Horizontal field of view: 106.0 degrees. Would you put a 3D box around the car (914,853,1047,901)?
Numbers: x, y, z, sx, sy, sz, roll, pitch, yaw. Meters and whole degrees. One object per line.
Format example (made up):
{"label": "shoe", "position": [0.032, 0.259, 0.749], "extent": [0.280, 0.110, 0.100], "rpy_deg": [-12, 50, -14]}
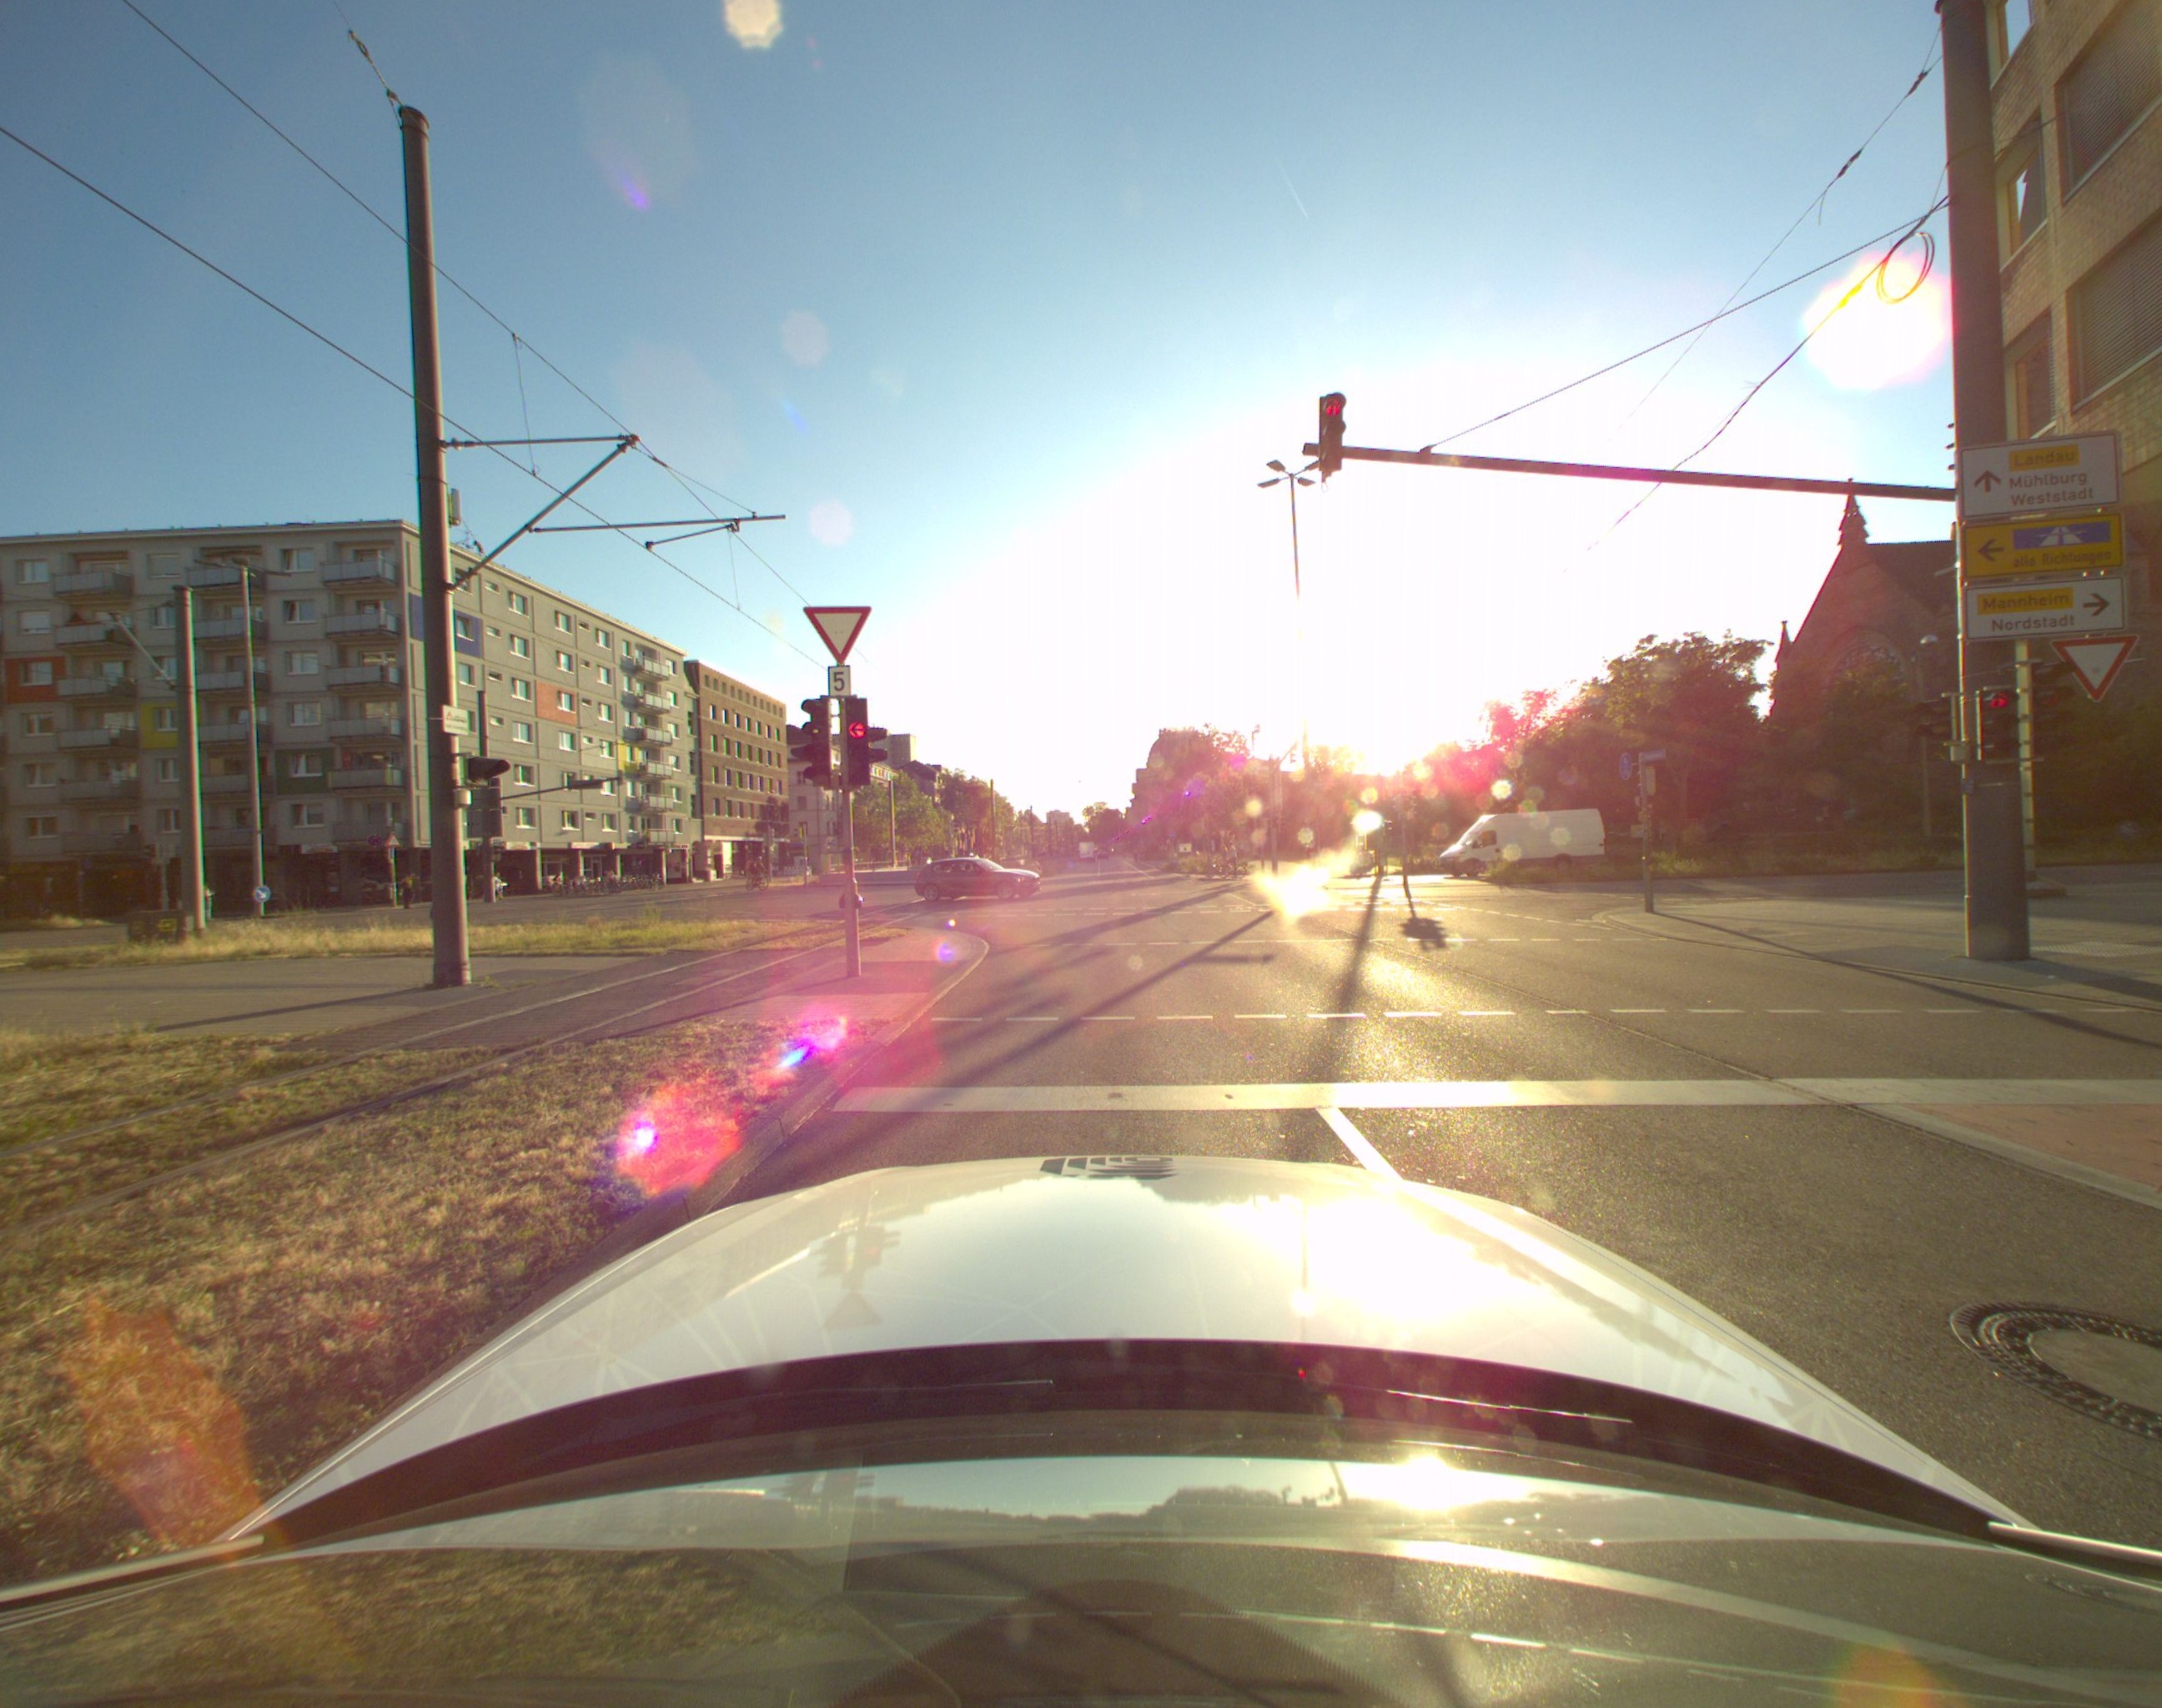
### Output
{"label": "car", "position": [-3.335, 0.769, 27.157], "extent": [3.955, 1.434, 1.727], "rpy_deg": [-2, 1, 18]}

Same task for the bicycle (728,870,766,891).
{"label": "bicycle", "position": [-16.824, 1.318, 41.025], "extent": [1.733, 0.970, 0.700], "rpy_deg": [0, 2, -18]}

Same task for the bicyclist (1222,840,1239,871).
{"label": "bicyclist", "position": [7.774, 0.061, 42.288], "extent": [0.793, 1.571, 0.665], "rpy_deg": [-2, 1, 7]}

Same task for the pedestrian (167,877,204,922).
{"label": "pedestrian", "position": [-38.886, 1.963, 35.370], "extent": [0.702, 1.851, 0.737], "rpy_deg": [-2, 1, 1]}

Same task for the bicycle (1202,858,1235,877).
{"label": "bicycle", "position": [7.452, 0.732, 44.206], "extent": [1.710, 0.970, 0.610], "rpy_deg": [-1, 1, 4]}

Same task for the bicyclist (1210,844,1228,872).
{"label": "bicyclist", "position": [7.506, 0.208, 44.201], "extent": [0.849, 1.442, 0.664], "rpy_deg": [-2, 1, 5]}

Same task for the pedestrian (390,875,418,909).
{"label": "pedestrian", "position": [-34.774, 1.949, 41.852], "extent": [0.732, 1.669, 0.787], "rpy_deg": [-2, 1, 23]}

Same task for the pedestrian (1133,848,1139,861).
{"label": "pedestrian", "position": [6.562, 0.065, 96.975], "extent": [0.613, 1.475, 0.801], "rpy_deg": [-2, 1, 5]}

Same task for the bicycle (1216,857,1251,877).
{"label": "bicycle", "position": [7.921, 0.688, 42.292], "extent": [1.719, 0.970, 0.611], "rpy_deg": [-1, 1, 7]}

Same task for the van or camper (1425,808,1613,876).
{"label": "van or camper", "position": [19.608, -0.570, 36.796], "extent": [7.013, 2.674, 2.601], "rpy_deg": [-2, 1, 3]}

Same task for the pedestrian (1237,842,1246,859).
{"label": "pedestrian", "position": [15.730, -0.377, 79.807], "extent": [0.679, 1.611, 0.613], "rpy_deg": [-2, 1, 1]}

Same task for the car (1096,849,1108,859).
{"label": "car", "position": [3.348, -0.071, 128.206], "extent": [1.730, 1.385, 4.003], "rpy_deg": [-2, 1, 2]}

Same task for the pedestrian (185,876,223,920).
{"label": "pedestrian", "position": [-38.018, 1.902, 35.315], "extent": [0.600, 1.847, 0.822], "rpy_deg": [-2, 1, 2]}

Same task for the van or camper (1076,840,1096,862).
{"label": "van or camper", "position": [0.652, -0.430, 101.999], "extent": [2.254, 2.624, 4.506], "rpy_deg": [-2, 1, 2]}

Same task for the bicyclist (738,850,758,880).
{"label": "bicyclist", "position": [-16.782, 0.541, 41.034], "extent": [0.855, 1.442, 0.659], "rpy_deg": [-1, 1, -17]}

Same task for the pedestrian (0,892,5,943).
{"label": "pedestrian", "position": [-40.287, 2.367, 29.859], "extent": [0.631, 1.847, 0.682], "rpy_deg": [-2, 1, 1]}
